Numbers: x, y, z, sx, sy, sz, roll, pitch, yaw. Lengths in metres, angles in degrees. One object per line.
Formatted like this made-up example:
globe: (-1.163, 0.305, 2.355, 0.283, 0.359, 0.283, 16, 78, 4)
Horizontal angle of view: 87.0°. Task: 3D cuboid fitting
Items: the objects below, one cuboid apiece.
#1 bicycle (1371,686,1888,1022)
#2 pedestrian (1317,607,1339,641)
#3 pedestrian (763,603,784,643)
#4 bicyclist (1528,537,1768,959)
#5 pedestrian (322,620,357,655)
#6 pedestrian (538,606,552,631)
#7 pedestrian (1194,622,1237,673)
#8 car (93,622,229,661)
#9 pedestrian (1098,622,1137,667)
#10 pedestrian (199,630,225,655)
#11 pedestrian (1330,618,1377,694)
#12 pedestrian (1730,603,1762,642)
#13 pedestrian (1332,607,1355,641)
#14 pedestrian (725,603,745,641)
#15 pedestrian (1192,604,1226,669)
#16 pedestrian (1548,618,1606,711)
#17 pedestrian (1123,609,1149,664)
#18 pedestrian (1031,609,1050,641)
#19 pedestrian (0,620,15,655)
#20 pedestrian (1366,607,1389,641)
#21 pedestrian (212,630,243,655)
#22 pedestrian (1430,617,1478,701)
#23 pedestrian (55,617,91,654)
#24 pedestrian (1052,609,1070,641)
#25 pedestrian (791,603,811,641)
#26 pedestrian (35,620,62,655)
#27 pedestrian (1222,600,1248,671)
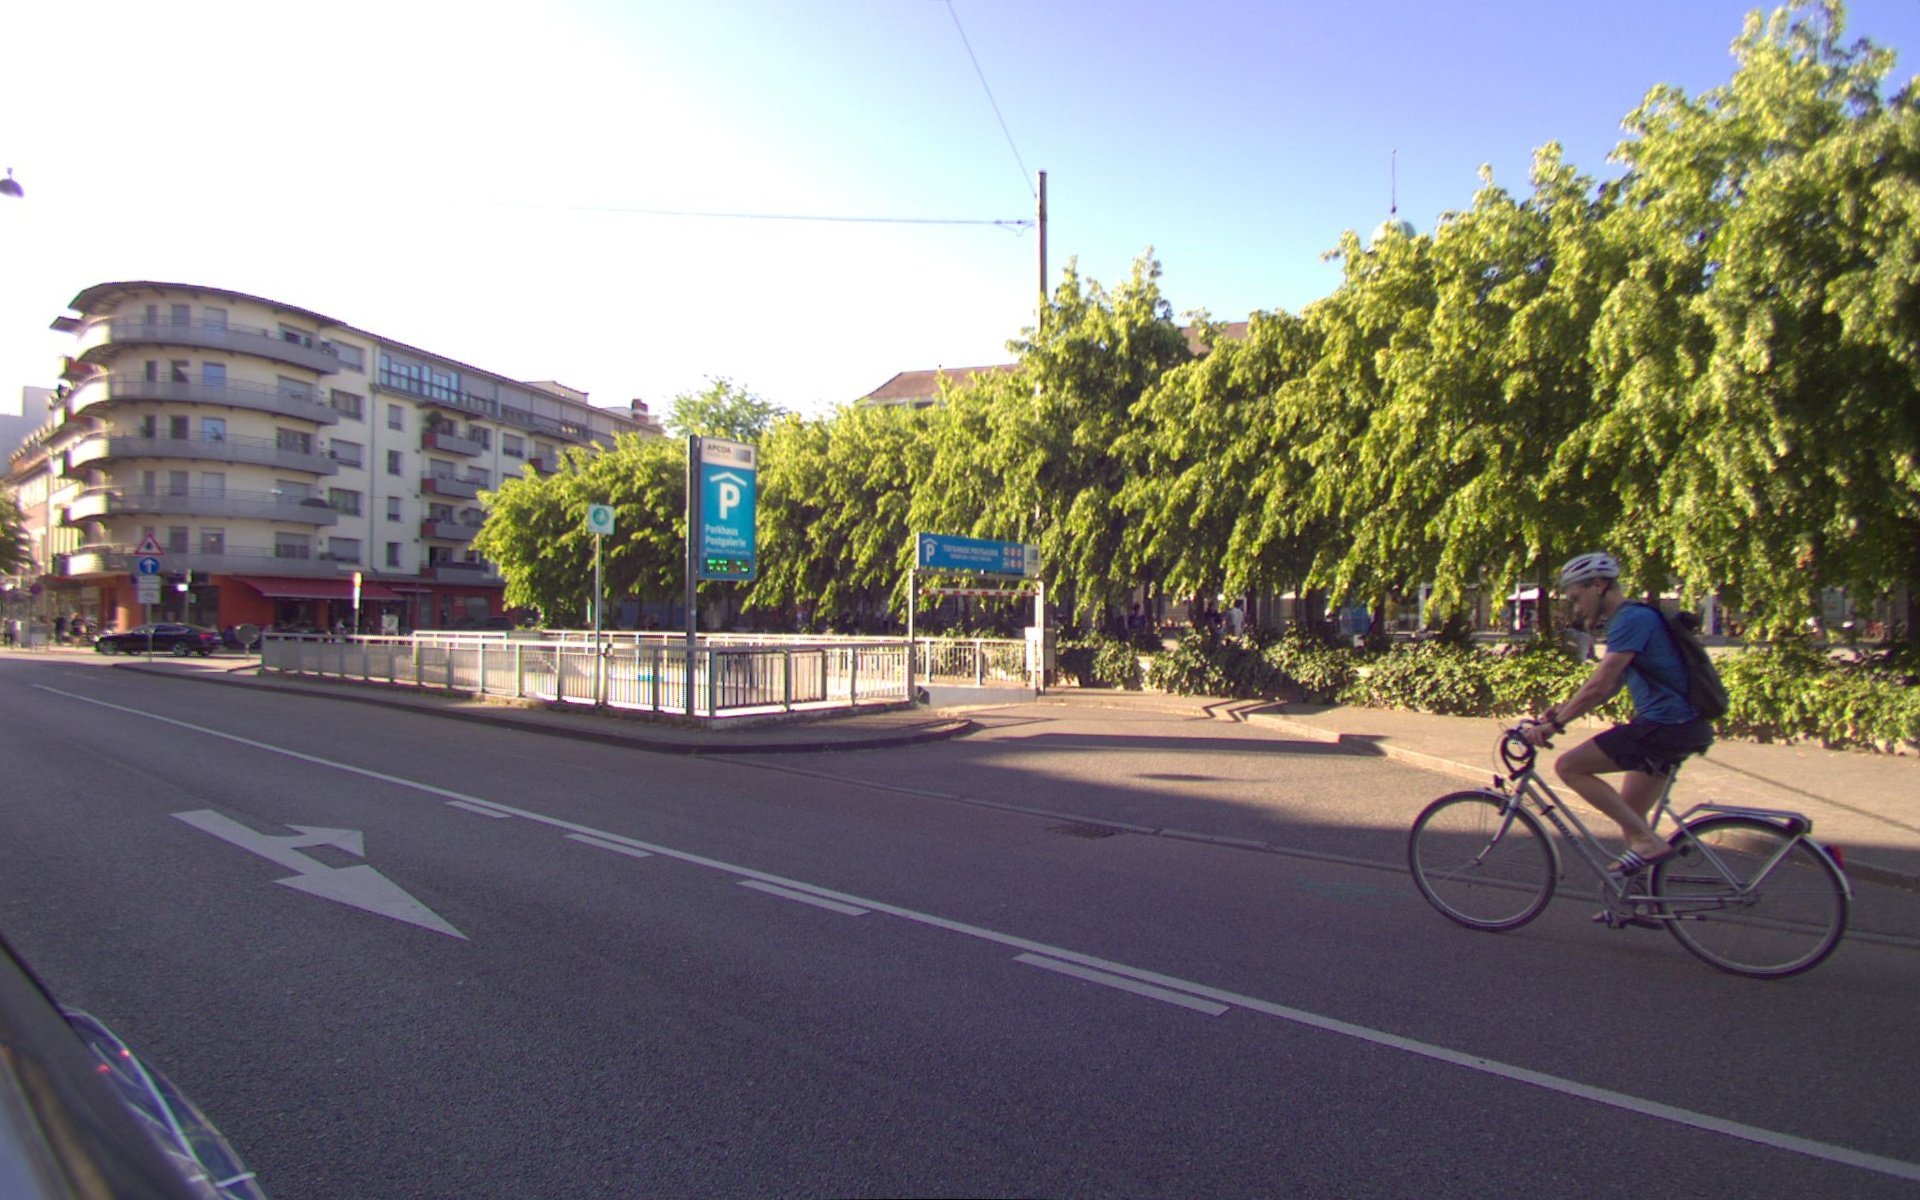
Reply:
bicycle: (3.046, 1.048, 4.785, 1.958, 1.171, 0.609, -1, -3, 44)
pedestrian: (17.091, 1.100, 47.021, 0.673, 1.535, 0.695, -1, 0, -7)
pedestrian: (-9.012, 1.100, 48.972, 0.681, 1.877, 0.741, -1, 0, 27)
bicyclist: (3.178, 0.623, 4.686, 0.810, 1.722, 0.693, -1, -4, 44)
pedestrian: (-31.030, 1.881, 50.613, 1.251, 1.678, 1.143, -1, 0, -18)
pedestrian: (-31.148, 1.397, 75.903, 0.684, 1.857, 0.737, -1, 0, 41)
pedestrian: (5.677, 1.047, 22.511, 0.682, 1.079, 0.686, -1, 0, -13)
car: (-33.605, 1.736, 42.676, 4.180, 1.542, 1.681, 2, -2, -12)
pedestrian: (3.898, 1.091, 25.082, 0.682, 1.079, 0.686, -1, 0, -29)
pedestrian: (-37.648, 2.134, 50.942, 0.882, 1.207, 0.772, -1, 0, 30)
pedestrian: (7.515, 1.059, 19.347, 0.622, 1.409, 0.644, -1, 0, 44)
pedestrian: (31.699, 0.917, 40.841, 0.730, 1.542, 0.693, -1, 0, 1)
pedestrian: (17.550, 1.094, 46.311, 0.672, 1.542, 0.696, -1, 0, -18)
pedestrian: (-11.246, 1.087, 50.500, 0.679, 1.857, 0.743, -1, 0, 19)
pedestrian: (5.892, 0.849, 23.935, 0.688, 1.511, 0.680, -1, 0, 19)
pedestrian: (9.799, 1.010, 16.092, 0.611, 1.447, 0.588, -1, 0, 14)
pedestrian: (4.517, 0.930, 25.923, 0.545, 1.385, 0.680, -1, 0, 19)
pedestrian: (3.568, 1.118, 44.856, 0.752, 1.385, 0.684, -1, 0, 1)
pedestrian: (-48.198, 1.892, 50.710, 1.079, 1.732, 1.056, -1, 0, 38)
pedestrian: (18.897, 1.077, 45.816, 0.672, 1.536, 0.696, -1, 0, -19)
pedestrian: (-36.828, 2.123, 50.898, 0.827, 1.207, 0.931, -1, 0, 16)
pedestrian: (8.742, 1.024, 17.901, 0.621, 1.447, 0.645, -1, 0, 39)
pedestrian: (-43.812, 1.738, 49.996, 0.958, 1.762, 1.051, -1, 0, 29)
pedestrian: (4.464, 1.106, 44.819, 0.684, 1.385, 0.684, -1, 0, 1)
pedestrian: (-7.820, 1.095, 49.792, 0.681, 1.857, 0.741, -1, 0, 27)
pedestrian: (-50.486, 2.065, 56.071, 0.790, 1.934, 0.978, -1, 0, 37)
pedestrian: (6.316, 0.802, 23.229, 0.522, 1.594, 0.680, -1, 0, 19)
